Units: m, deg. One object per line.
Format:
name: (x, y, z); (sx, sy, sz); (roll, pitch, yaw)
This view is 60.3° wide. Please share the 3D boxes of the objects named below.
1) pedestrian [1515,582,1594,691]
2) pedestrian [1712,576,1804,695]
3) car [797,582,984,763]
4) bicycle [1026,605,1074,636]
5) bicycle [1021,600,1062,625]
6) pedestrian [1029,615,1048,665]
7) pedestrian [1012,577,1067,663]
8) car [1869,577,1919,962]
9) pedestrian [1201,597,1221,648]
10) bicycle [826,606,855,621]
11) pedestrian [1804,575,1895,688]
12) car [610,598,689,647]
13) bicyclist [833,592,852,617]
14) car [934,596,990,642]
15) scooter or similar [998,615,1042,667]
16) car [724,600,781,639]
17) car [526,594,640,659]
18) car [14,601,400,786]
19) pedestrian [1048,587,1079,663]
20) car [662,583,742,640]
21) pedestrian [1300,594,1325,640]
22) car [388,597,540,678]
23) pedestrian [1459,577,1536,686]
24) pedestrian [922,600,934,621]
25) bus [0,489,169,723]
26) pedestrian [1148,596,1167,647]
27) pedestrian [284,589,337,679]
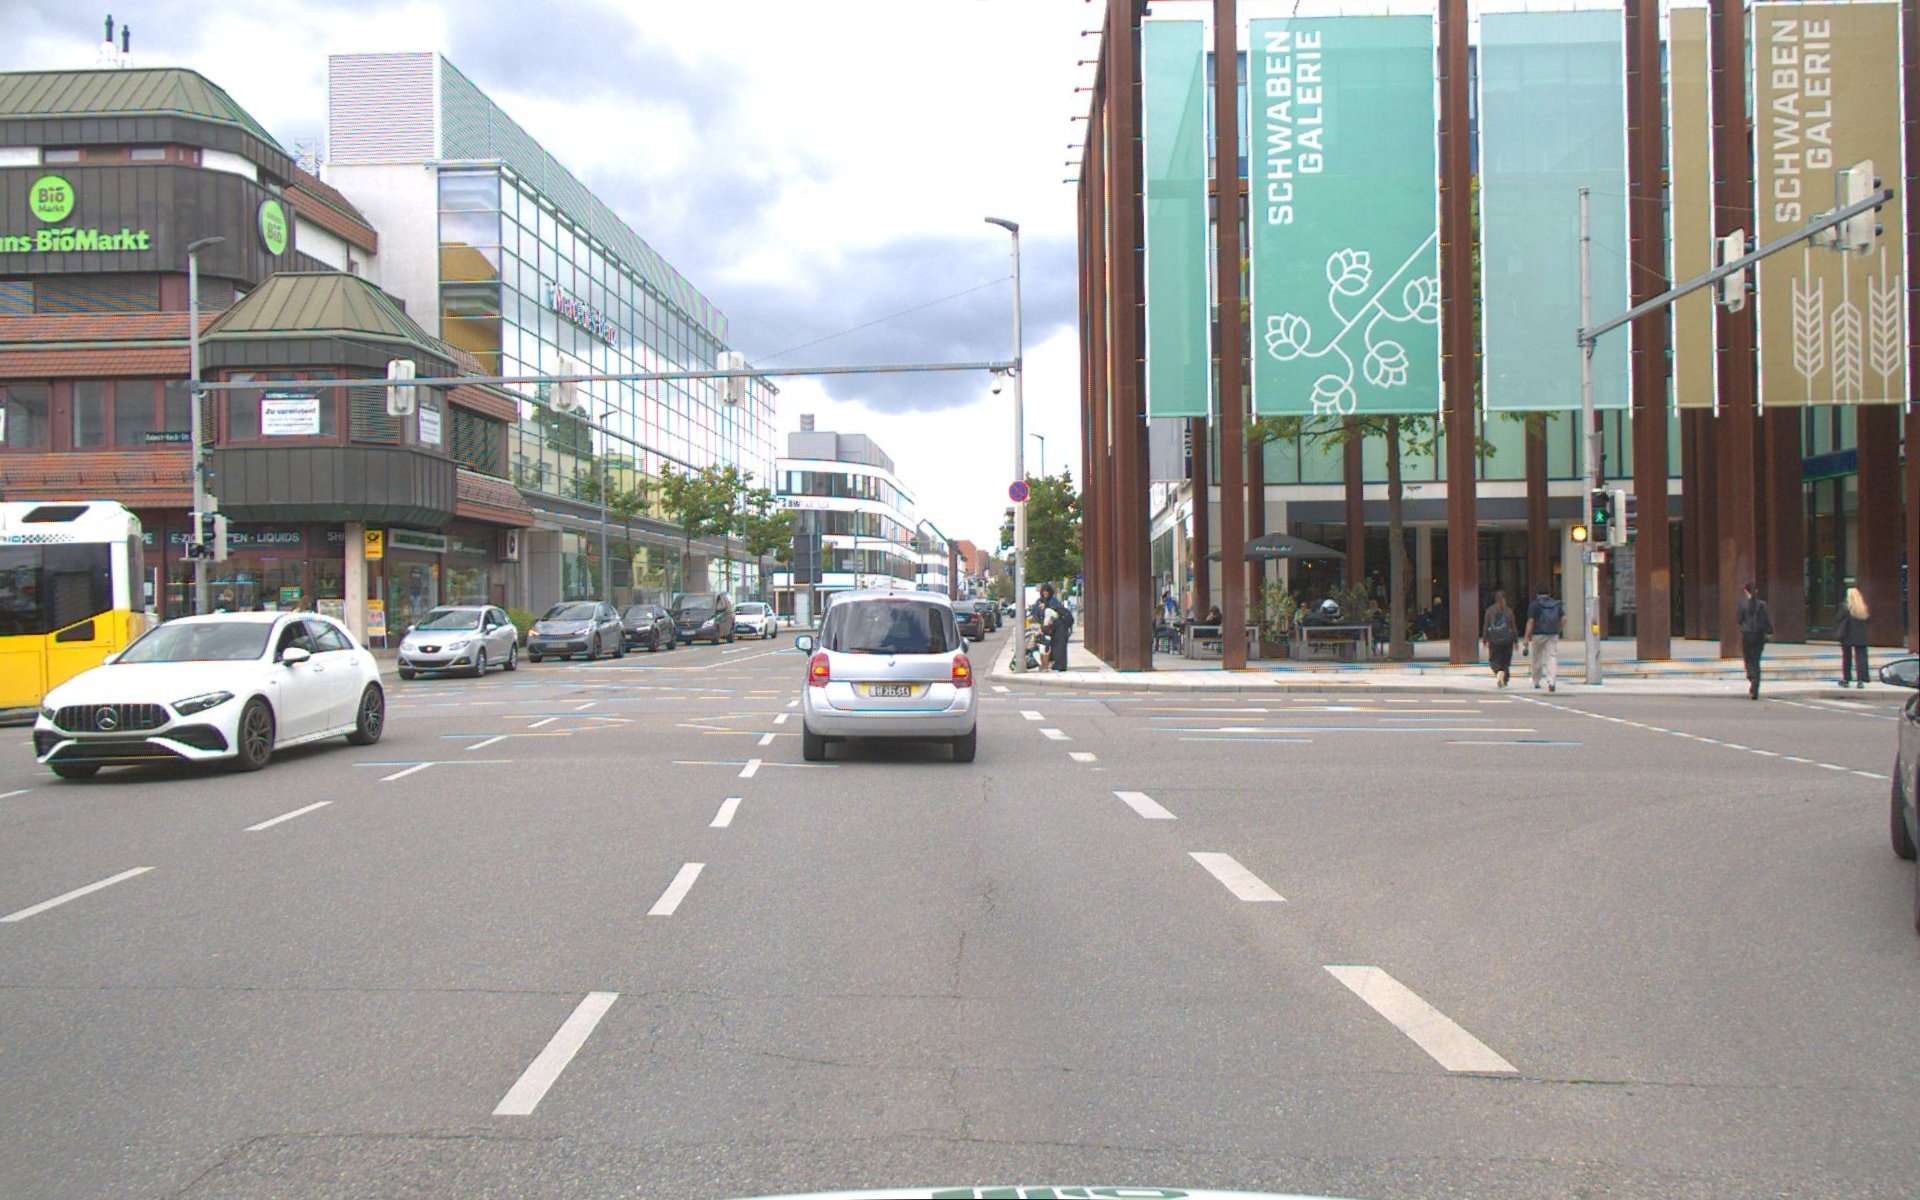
pedestrian: (9.595, 0.576, 26.733); (0.860, 1.711, 1.120); (-1, 0, -1)
pedestrian: (12.396, 0.536, 25.716); (0.860, 1.798, 1.120); (-1, 0, -1)
car: (-0.609, 0.642, 16.582); (1.635, 1.581, 3.642); (1, 0, 0)
bicycle: (2.942, 0.671, 54.253); (1.527, 1.010, 0.753); (-1, 0, 6)
bicycle: (3.648, 0.553, 74.211); (1.787, 1.093, 0.752); (-2, 0, 1)
pedestrian: (1.514, 0.769, 31.849); (0.354, 0.940, 0.455); (0, 0, 5)
pedestrian: (1.577, 0.384, 32.731); (0.855, 1.675, 0.677); (0, 0, 37)
car: (5.942, 0.747, 8.810); (1.816, 1.637, 4.854); (1, 0, 28)
pedestrian: (6.156, 0.551, 40.568); (0.438, 1.241, 0.607); (0, 0, 6)
bicycle: (-8.259, 0.928, 114.169); (0.993, 1.036, 3.106); (2, 0, -24)
pedestrian: (14.583, 0.508, 27.143); (0.860, 1.798, 1.120); (-1, 0, -1)
car: (-9.601, 0.677, 51.455); (1.667, 1.468, 4.000); (0, 0, 0)
bicyclist: (-8.086, 0.340, 113.819); (0.993, 1.689, 0.926); (2, -1, -25)
car: (0.103, 0.668, 59.806); (1.634, 1.581, 3.644); (1, 0, 5)
scooter or similar: (1.177, 0.789, 32.225); (0.622, 0.978, 0.618); (0, 0, 36)
car: (-8.544, 0.786, 68.446); (1.625, 1.491, 4.001); (-2, 0, 3)
car: (-9.958, 0.666, 44.020); (1.721, 1.543, 4.389); (-2, 1, 4)
car: (-7.027, 0.790, 15.977); (1.708, 1.484, 4.235); (-1, 0, 1)
pedestrian: (1.992, 0.482, 31.818); (0.588, 1.445, 0.582); (0, 0, 5)
car: (-9.377, 0.390, 60.597); (1.826, 1.943, 5.115); (-2, 0, 3)
pedestrian: (9.519, 0.461, 44.733); (0.504, 1.229, 0.796); (0, 1, 0)
car: (-10.371, 0.739, 34.900); (1.600, 1.442, 4.202); (-2, 1, 4)
pedestrian: (8.669, 0.492, 26.713); (0.860, 1.711, 1.120); (-1, 0, -1)
pedestrian: (-2.943, 0.955, 151.874); (0.940, 1.865, 1.251); (-1, 0, 3)
bus: (-18.372, 0.344, 24.022); (12.099, 3.385, 2.976); (-3, 0, -23)
pedestrian: (4.862, 0.522, 40.694); (0.438, 1.241, 0.607); (0, 0, 5)
pedestrian: (-12.752, 0.660, 32.478); (0.733, 1.722, 0.777); (-1, 0, -2)
